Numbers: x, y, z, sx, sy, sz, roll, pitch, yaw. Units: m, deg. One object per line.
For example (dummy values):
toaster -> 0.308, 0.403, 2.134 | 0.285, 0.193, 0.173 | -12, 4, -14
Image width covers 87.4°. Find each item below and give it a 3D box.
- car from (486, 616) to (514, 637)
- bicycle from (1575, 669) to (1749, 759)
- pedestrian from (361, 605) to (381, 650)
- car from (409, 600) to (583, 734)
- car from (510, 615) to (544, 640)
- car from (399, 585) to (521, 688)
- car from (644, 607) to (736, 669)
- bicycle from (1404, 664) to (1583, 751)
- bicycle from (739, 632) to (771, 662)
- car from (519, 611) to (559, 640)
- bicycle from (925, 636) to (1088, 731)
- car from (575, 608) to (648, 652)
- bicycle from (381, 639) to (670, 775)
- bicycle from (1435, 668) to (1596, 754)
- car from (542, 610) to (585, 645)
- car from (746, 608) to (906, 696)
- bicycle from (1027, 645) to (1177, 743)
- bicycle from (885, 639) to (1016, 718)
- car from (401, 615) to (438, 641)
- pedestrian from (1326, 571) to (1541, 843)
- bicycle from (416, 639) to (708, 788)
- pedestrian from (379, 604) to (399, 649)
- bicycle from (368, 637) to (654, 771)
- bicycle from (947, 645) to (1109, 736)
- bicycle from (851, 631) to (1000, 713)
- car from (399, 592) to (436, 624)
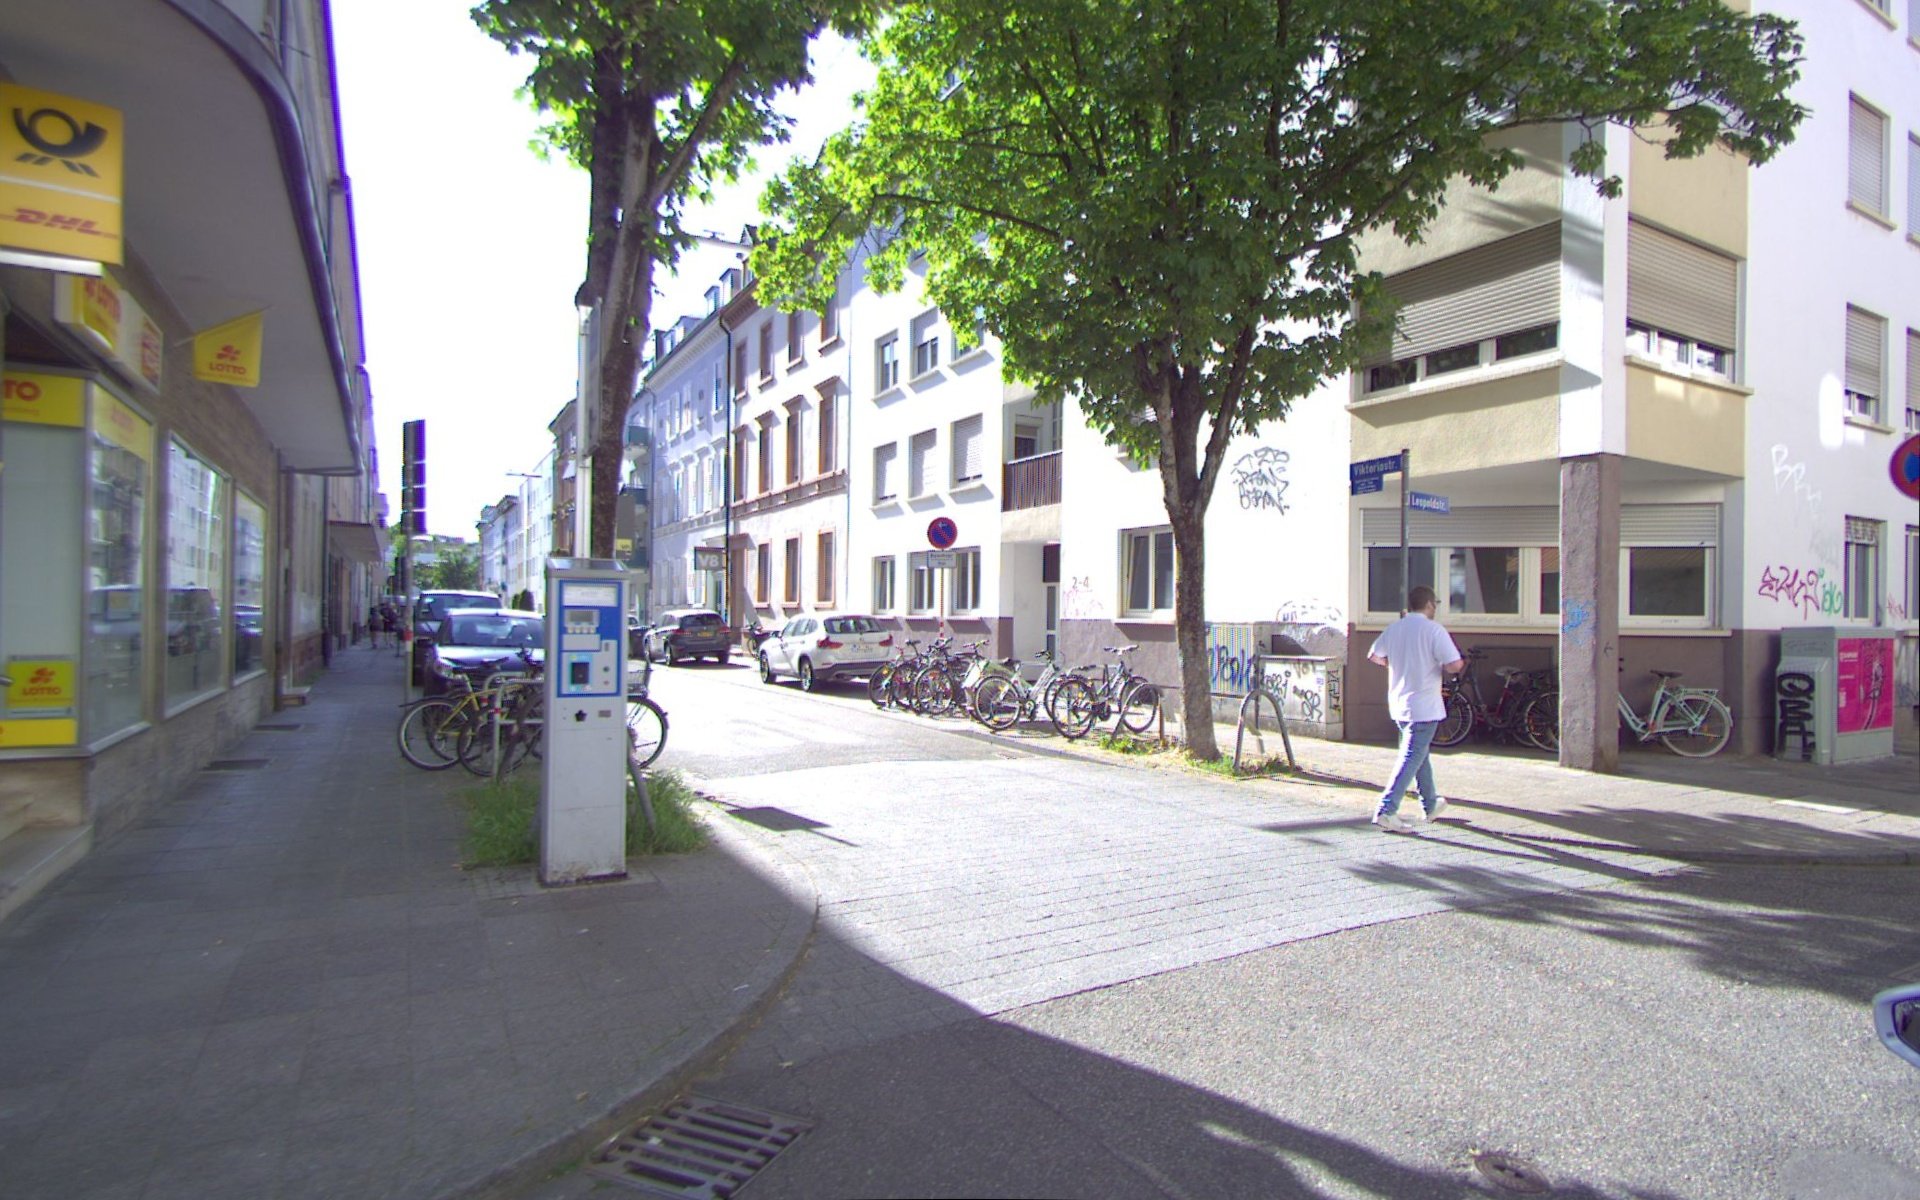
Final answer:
car -> -35.884, 2.037, 78.324 | 1.806, 1.607, 4.028 | 0, -1, -27
bicycle -> 7.859, 1.265, 11.285 | 1.538, 0.894, 0.431 | 2, 1, 10
pedestrian -> -23.516, 1.094, 40.113 | 0.616, 1.740, 0.659 | 2, -1, -29
car -> -6.683, 0.870, 14.337 | 1.878, 1.607, 4.210 | 4, -2, -27
car -> -28.301, 1.776, 65.590 | 1.806, 1.607, 4.211 | 0, -1, -27
car -> -10.941, 0.761, 21.896 | 2.060, 1.971, 4.564 | 3, -2, -28
car -> -8.279, 1.083, 30.580 | 1.842, 1.715, 4.210 | -1, 0, -27
bicycle -> 6.249, 1.251, 11.835 | 1.825, 0.925, 0.383 | 1, -1, 11
bicycle -> -6.380, 1.443, 31.218 | 0.456, 0.863, 1.854 | 0, 0, -28
car -> -24.099, 1.435, 57.478 | 1.806, 1.607, 4.049 | 0, -1, -27
bicycle -> 0.688, 1.132, 14.122 | 2.411, 1.201, 0.500 | 0, -1, -31
car -> -14.227, 1.186, 40.796 | 2.120, 1.648, 4.852 | 0, -1, -28
bicycle -> -3.956, 0.955, 9.280 | 2.376, 1.132, 0.519 | 3, -1, -31
bicycle -> 6.279, 1.242, 11.407 | 1.553, 0.909, 0.404 | 0, -1, 11
car -> -19.891, 1.329, 50.308 | 1.880, 1.672, 3.952 | 0, -1, -24
car -> -2.902, 0.987, 20.959 | 1.971, 1.635, 4.142 | 0, -1, -28
bicycle -> 1.809, 1.152, 12.664 | 2.039, 1.116, 0.479 | 1, 0, -32
bicycle -> -0.136, 1.211, 15.857 | 1.974, 1.081, 0.676 | -2, 1, -31
car -> -29.914, 1.524, 55.643 | 1.757, 1.415, 3.643 | 0, -1, -28
pedestrian -> 3.565, 0.753, 7.574 | 1.231, 1.857, 0.906 | 2, -1, -30
bicycle -> -3.450, 0.954, 8.806 | 2.280, 1.158, 0.704 | 3, -1, -30
pedestrian -> -23.300, 1.092, 40.990 | 0.616, 1.812, 0.659 | 2, -1, -29
bicycle -> -4.299, 0.968, 9.768 | 2.408, 1.142, 0.701 | 3, -2, -38
bicycle -> 0.936, 1.181, 13.498 | 2.155, 1.043, 0.637 | -1, 1, -29
bicycle -> -0.558, 1.176, 16.884 | 2.394, 1.162, 0.830 | -2, 1, -31
car -> -35.428, 0.518, 65.633 | 1.975, 1.919, 4.671 | 2, -1, -28
